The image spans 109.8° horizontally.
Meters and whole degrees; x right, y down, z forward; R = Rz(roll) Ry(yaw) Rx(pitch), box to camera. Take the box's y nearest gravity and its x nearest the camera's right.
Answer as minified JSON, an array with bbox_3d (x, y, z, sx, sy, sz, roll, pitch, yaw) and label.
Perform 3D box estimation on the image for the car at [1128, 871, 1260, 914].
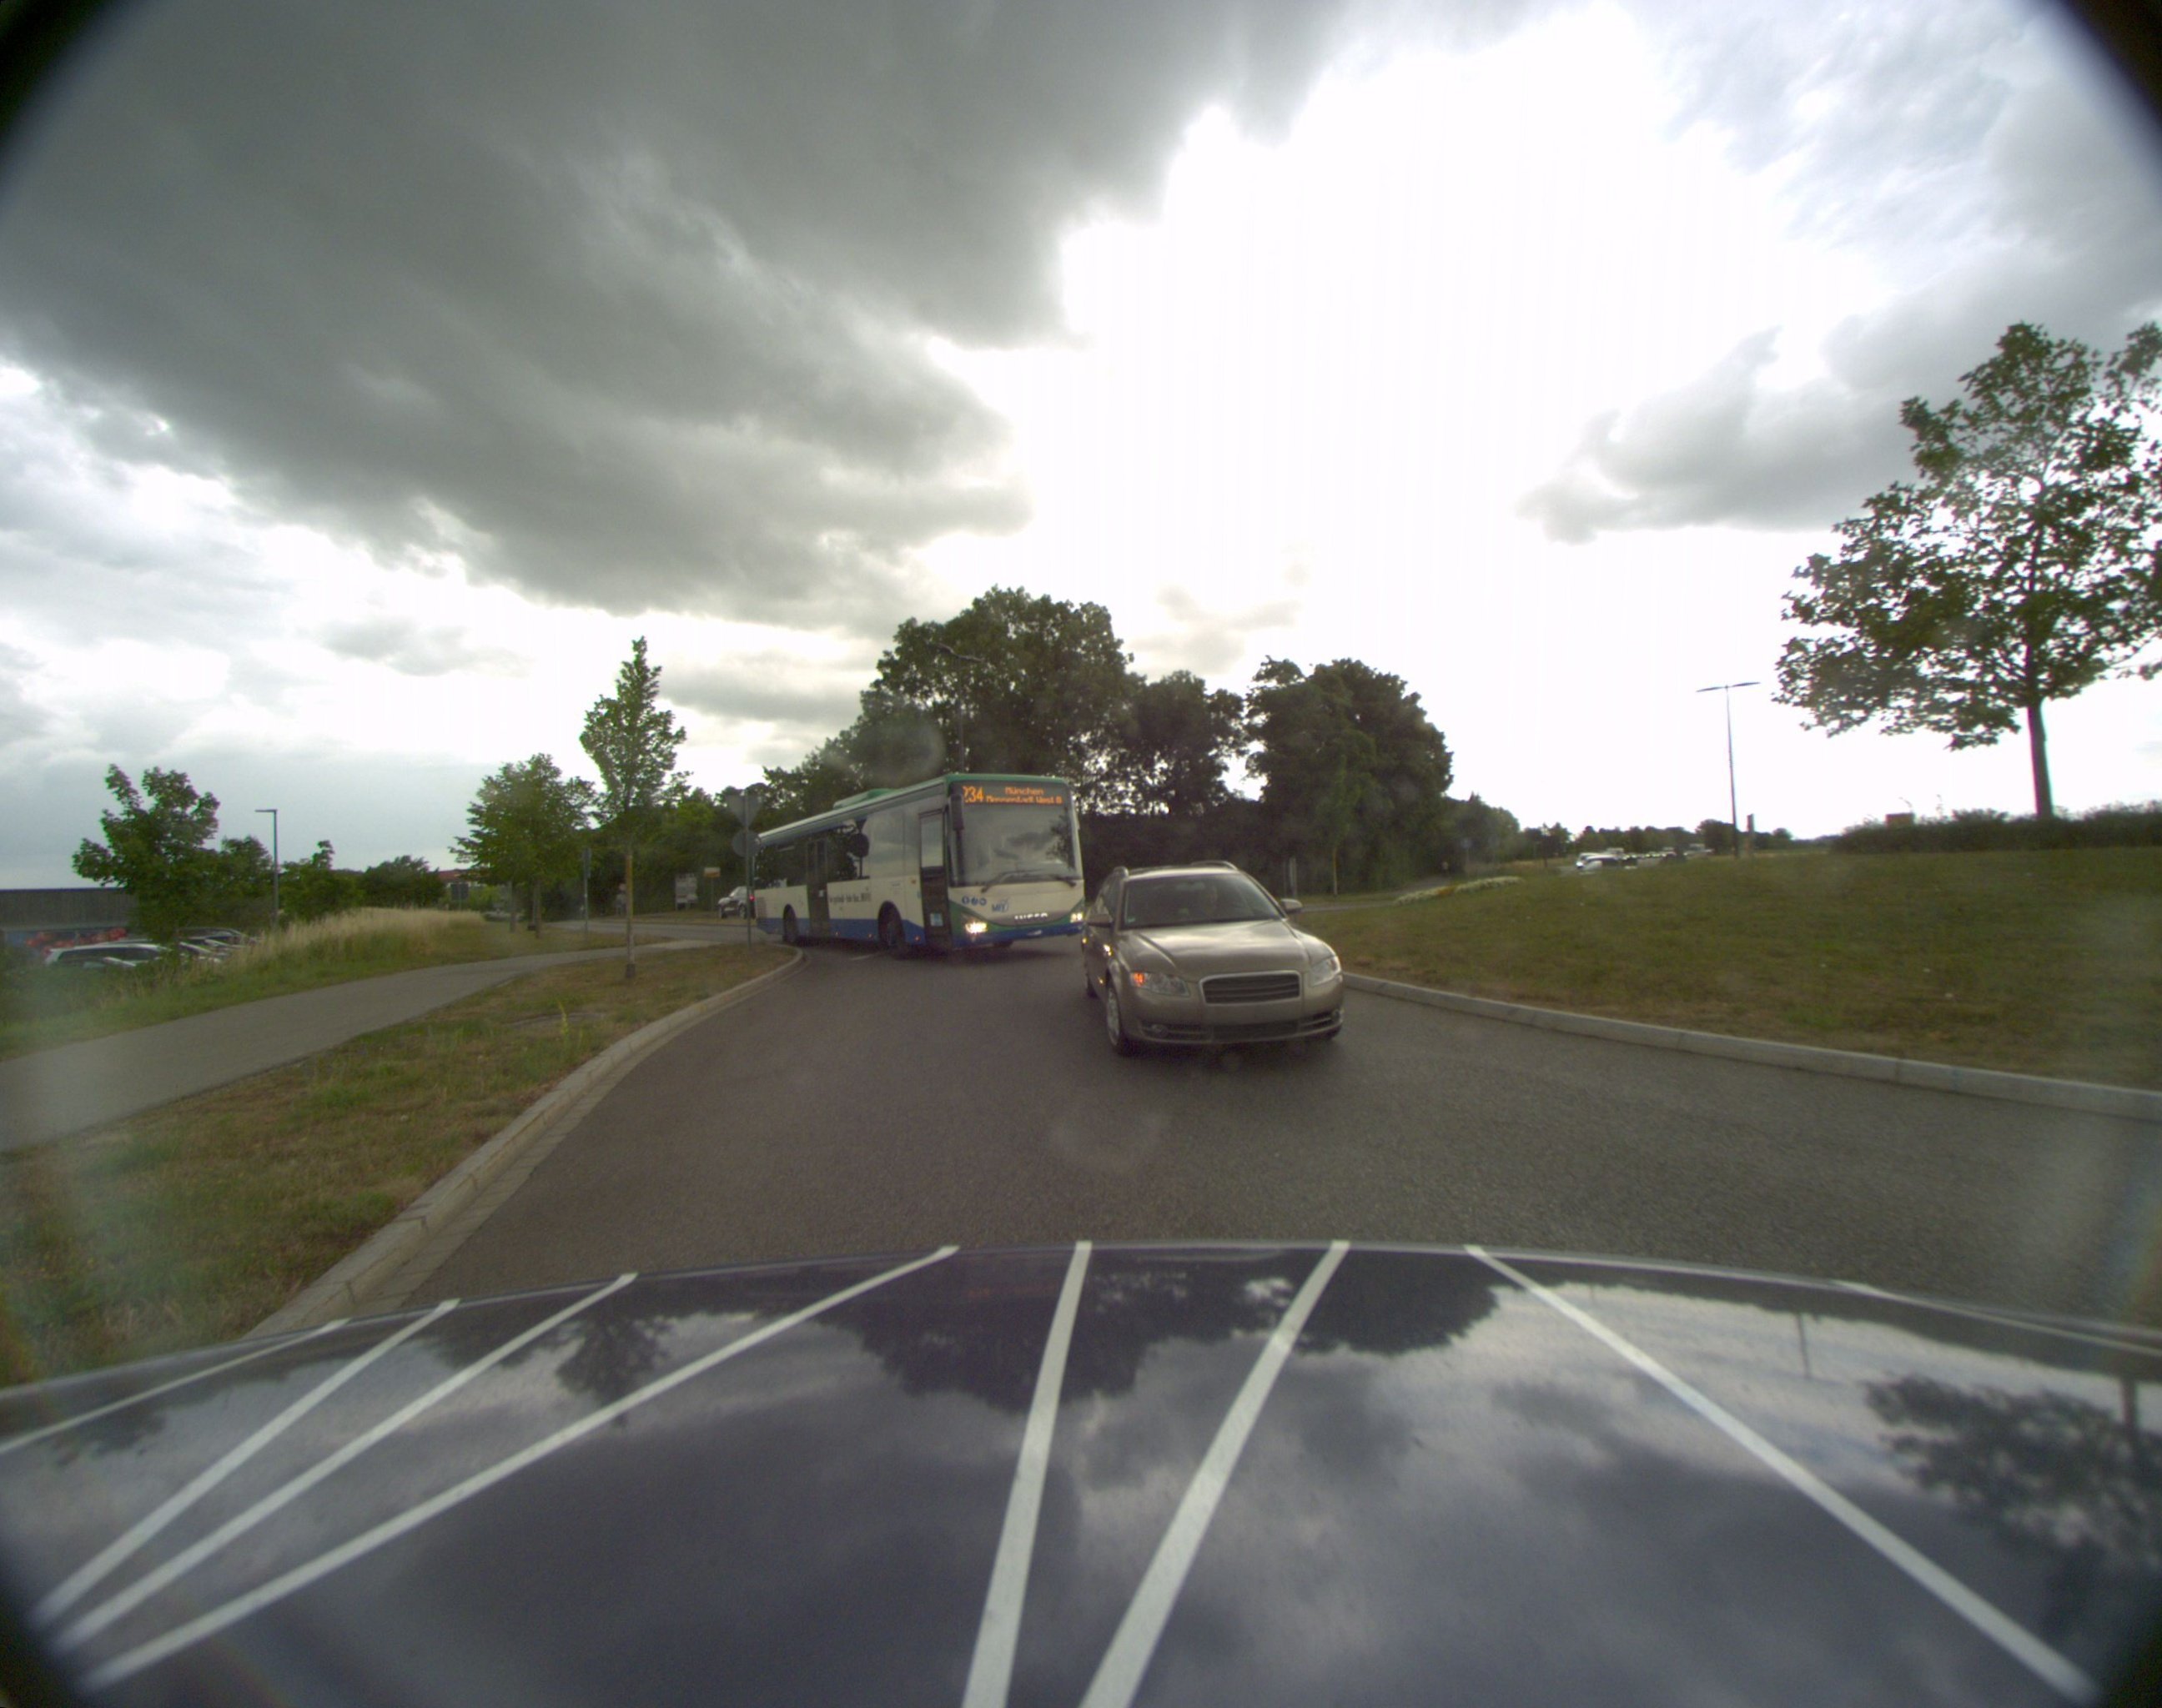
[{"bbox_3d":[3.816,1.310,26.097,4.114,1.299,1.830,-1,-2,-7],"label":"car"}]

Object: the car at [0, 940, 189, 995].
[{"bbox_3d":[-35.042,3.983,27.036,3.896,1.455,1.694,-2,-1,-32],"label":"car"}]

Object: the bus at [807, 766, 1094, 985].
[{"bbox_3d":[-2.865,0.334,14.642,2.529,3.240,6.533,-5,2,-37],"label":"bus"}]

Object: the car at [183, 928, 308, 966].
[{"bbox_3d":[-42.121,4.654,38.421,3.896,1.455,1.694,-2,-1,-32],"label":"car"}]

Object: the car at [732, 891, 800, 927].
[{"bbox_3d":[-14.769,2.534,35.537,1.647,1.496,3.572,-2,-1,-44],"label":"car"}]

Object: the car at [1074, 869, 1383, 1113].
[{"bbox_3d":[0.925,0.909,7.105,1.782,1.456,4.540,-2,-1,-2],"label":"car"}]

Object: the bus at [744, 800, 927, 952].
[{"bbox_3d":[-6.455,0.518,19.447,2.529,3.240,5.447,-6,2,-37],"label":"bus"}]

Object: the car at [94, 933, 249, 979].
[{"bbox_3d":[-38.619,4.292,32.412,3.896,1.455,1.694,-2,-1,-32],"label":"car"}]

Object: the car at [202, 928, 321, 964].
[{"bbox_3d":[-42.917,4.802,39.915,3.896,1.455,1.694,-2,-1,-32],"label":"car"}]

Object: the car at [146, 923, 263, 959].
[{"bbox_3d":[-46.732,4.601,40.655,1.879,1.435,4.008,-3,-1,43],"label":"car"}]
